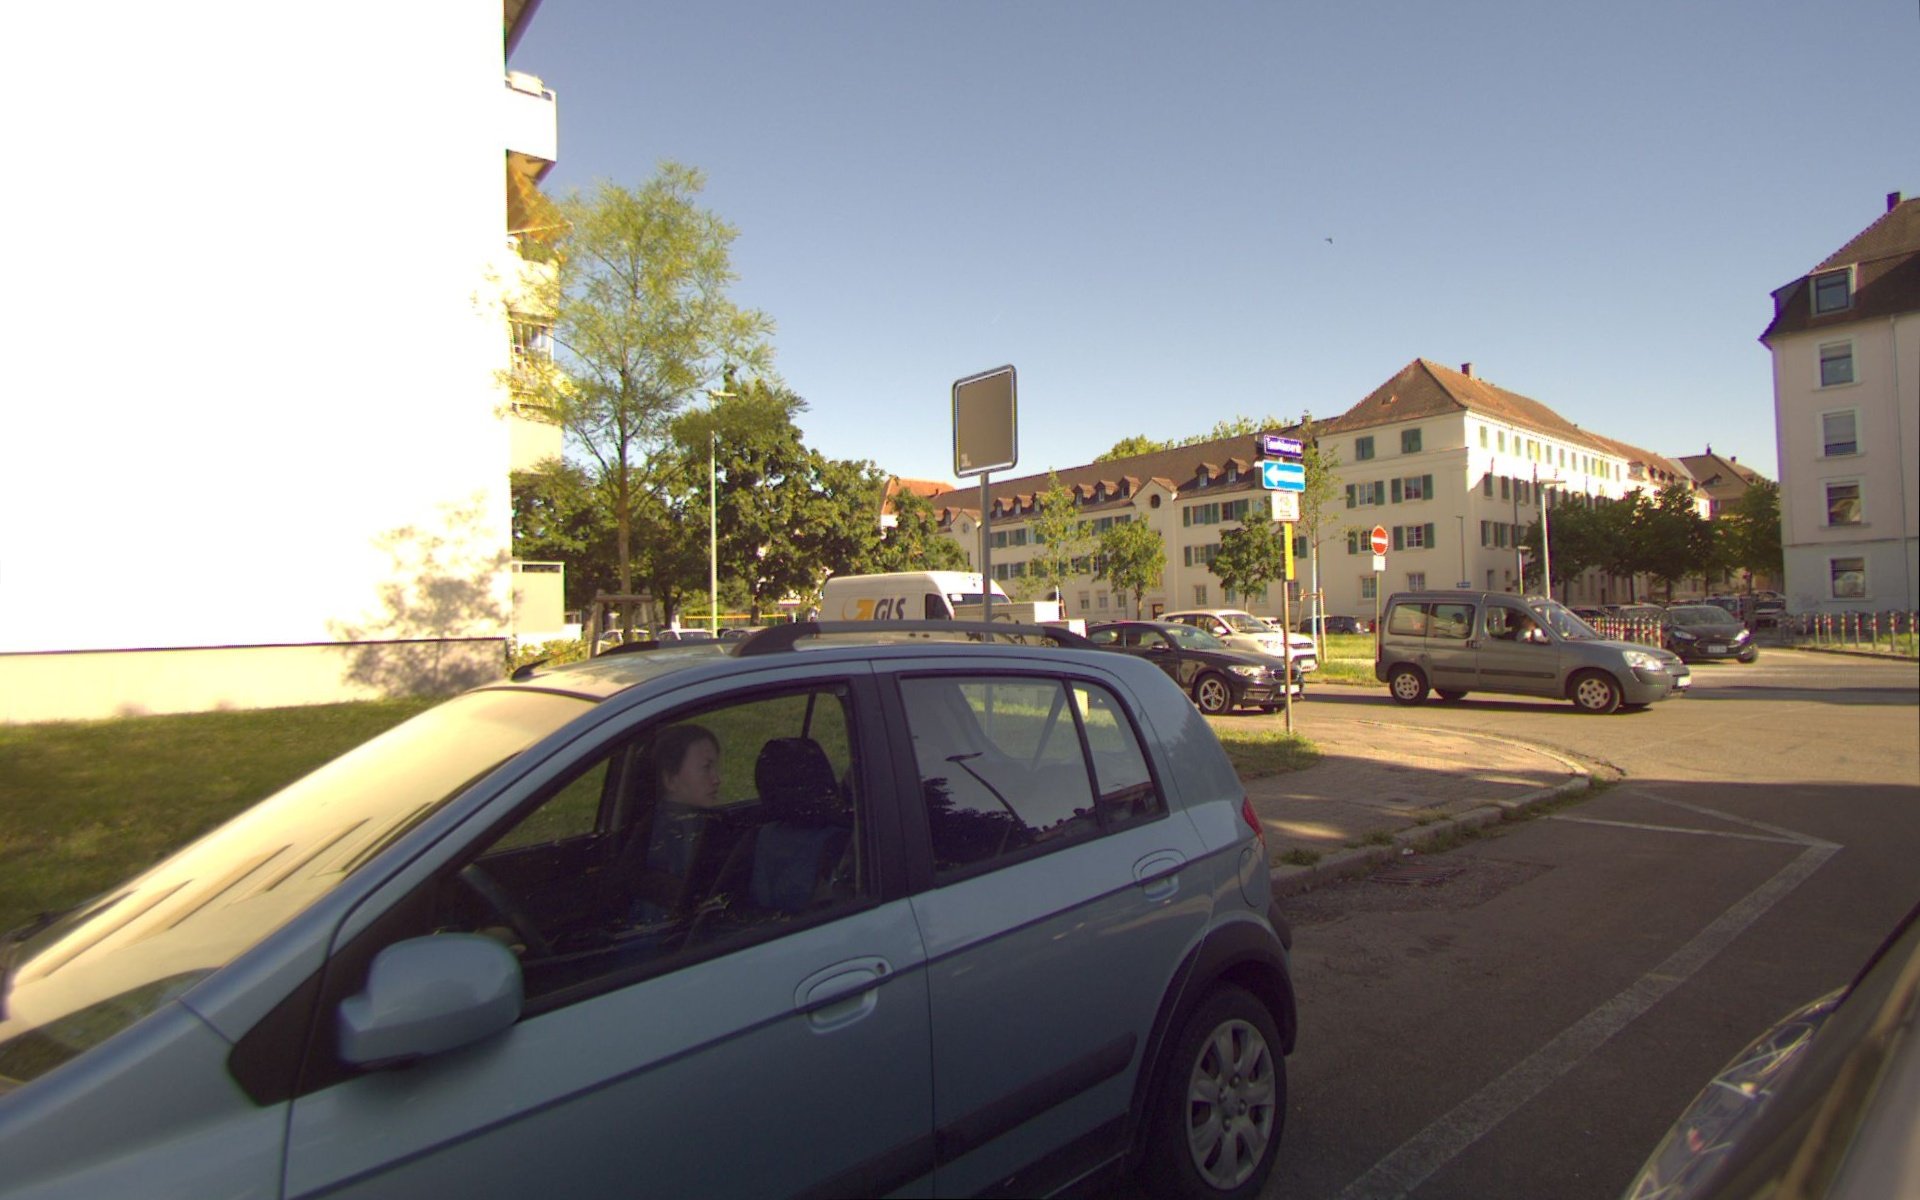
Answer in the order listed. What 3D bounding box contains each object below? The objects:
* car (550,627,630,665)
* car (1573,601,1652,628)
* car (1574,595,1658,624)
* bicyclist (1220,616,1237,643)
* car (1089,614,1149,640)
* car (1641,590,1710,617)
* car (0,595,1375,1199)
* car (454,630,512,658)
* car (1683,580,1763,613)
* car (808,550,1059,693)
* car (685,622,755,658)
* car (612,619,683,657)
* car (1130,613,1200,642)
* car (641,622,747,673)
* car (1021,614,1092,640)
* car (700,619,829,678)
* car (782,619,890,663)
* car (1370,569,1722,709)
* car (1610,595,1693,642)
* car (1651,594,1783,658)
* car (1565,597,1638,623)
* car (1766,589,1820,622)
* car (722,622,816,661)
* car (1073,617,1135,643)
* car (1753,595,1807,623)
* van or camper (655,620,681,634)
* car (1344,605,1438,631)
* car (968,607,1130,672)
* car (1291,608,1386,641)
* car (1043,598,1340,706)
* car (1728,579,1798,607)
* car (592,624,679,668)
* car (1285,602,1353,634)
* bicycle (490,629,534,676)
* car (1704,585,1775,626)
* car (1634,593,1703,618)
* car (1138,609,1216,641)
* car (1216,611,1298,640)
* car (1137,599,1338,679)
[{"bbox_3d":[-15.148,1.869,41.291,1.674,1.454,4.464,2,-3,-39],"label":"car"},{"bbox_3d":[39.480,0.878,61.301,1.682,1.541,3.662,-1,-1,-39],"label":"car"},{"bbox_3d":[42.456,0.621,65.602,1.677,1.723,4.234,0,-2,-41],"label":"car"},{"bbox_3d":[18.367,2.036,69.168,0.663,1.826,0.800,0,-2,-39],"label":"bicyclist"},{"bbox_3d":[12.514,2.142,79.862,2.230,1.929,4.160,-1,-2,-40],"label":"car"},{"bbox_3d":[51.423,0.266,72.776,1.923,1.858,3.704,0,-2,-42],"label":"car"},{"bbox_3d":[-0.773,0.749,2.312,3.833,1.447,1.655,-1,-2,-42],"label":"car"},{"bbox_3d":[-26.863,2.461,56.888,1.816,1.492,5.058,-1,-1,-39],"label":"car"},{"bbox_3d":[62.750,-0.239,83.312,1.923,2.551,4.945,0,-2,-42],"label":"car"},{"bbox_3d":[-0.862,0.529,22.754,2.109,2.748,6.835,1,-3,-37],"label":"car"},{"bbox_3d":[-10.604,1.776,44.589,1.563,1.512,3.679,2,-3,-39],"label":"car"},{"bbox_3d":[-15.974,1.879,51.560,1.836,1.807,4.986,0,-1,-38],"label":"car"},{"bbox_3d":[13.986,1.894,69.162,2.204,1.844,4.250,-1,-2,-40],"label":"car"},{"bbox_3d":[-8.649,1.494,32.676,1.849,1.494,4.136,0,-2,-38],"label":"car"},{"bbox_3d":[7.345,2.073,77.591,2.413,1.844,5.449,-1,-1,-37],"label":"car"},{"bbox_3d":[-5.686,1.380,29.051,1.822,1.484,4.195,-2,-1,-40],"label":"car"},{"bbox_3d":[-4.615,1.500,37.087,1.845,1.539,4.464,2,-3,-39],"label":"car"},{"bbox_3d":[8.670,0.570,15.291,1.870,1.813,4.151,-1,-2,-39],"label":"car"},{"bbox_3d":[25.094,0.673,36.862,1.910,1.597,4.306,-2,-2,27],"label":"car"},{"bbox_3d":[19.253,0.639,25.962,1.902,1.427,4.306,-4,-2,27],"label":"car"},{"bbox_3d":[40.709,0.629,64.263,1.679,1.540,3.607,0,-2,-42],"label":"car"},{"bbox_3d":[52.842,0.328,64.151,4.969,1.999,1.995,-1,-2,-44],"label":"car"},{"bbox_3d":[-7.810,1.679,41.139,1.729,1.511,4.661,2,-3,-39],"label":"car"},{"bbox_3d":[10.472,2.185,73.611,2.282,1.773,4.005,-1,-1,-37],"label":"car"},{"bbox_3d":[49.272,0.523,60.785,3.817,1.589,1.933,-1,-1,-43],"label":"car"},{"bbox_3d":[-43.411,4.006,150.279,2.234,2.039,4.370,-1,-1,-38],"label":"van or camper"},{"bbox_3d":[26.400,1.143,62.074,1.964,1.504,4.952,0,-2,-39],"label":"car"},{"bbox_3d":[2.404,1.107,28.489,1.815,1.660,4.710,1,-3,-38],"label":"car"},{"bbox_3d":[22.001,1.436,58.919,2.127,1.844,4.697,-1,-2,-40],"label":"car"},{"bbox_3d":[3.609,0.811,16.520,1.929,1.501,4.493,2,-3,-39],"label":"car"},{"bbox_3d":[76.940,-0.653,97.008,1.923,2.426,4.945,0,-2,-42],"label":"car"},{"bbox_3d":[-11.888,1.661,36.958,1.695,1.454,4.148,0,-2,-38],"label":"car"},{"bbox_3d":[23.359,1.193,66.009,1.640,2.039,3.892,0,-1,-39],"label":"car"},{"bbox_3d":[-12.271,1.419,27.701,0.587,1.191,2.011,-1,0,-39],"label":"bicycle"},{"bbox_3d":[41.450,0.264,53.764,4.498,2.039,2.136,-1,-2,-42],"label":"car"},{"bbox_3d":[49.751,0.398,71.108,1.801,1.661,3.607,0,-2,-42],"label":"car"},{"bbox_3d":[16.124,1.875,75.532,2.494,2.244,5.249,-1,-2,-40],"label":"car"},{"bbox_3d":[20.432,1.774,69.794,2.122,1.910,5.152,-1,-2,-38],"label":"car"},{"bbox_3d":[6.246,0.891,23.229,1.729,1.669,4.283,1,-3,-37],"label":"car"}]
